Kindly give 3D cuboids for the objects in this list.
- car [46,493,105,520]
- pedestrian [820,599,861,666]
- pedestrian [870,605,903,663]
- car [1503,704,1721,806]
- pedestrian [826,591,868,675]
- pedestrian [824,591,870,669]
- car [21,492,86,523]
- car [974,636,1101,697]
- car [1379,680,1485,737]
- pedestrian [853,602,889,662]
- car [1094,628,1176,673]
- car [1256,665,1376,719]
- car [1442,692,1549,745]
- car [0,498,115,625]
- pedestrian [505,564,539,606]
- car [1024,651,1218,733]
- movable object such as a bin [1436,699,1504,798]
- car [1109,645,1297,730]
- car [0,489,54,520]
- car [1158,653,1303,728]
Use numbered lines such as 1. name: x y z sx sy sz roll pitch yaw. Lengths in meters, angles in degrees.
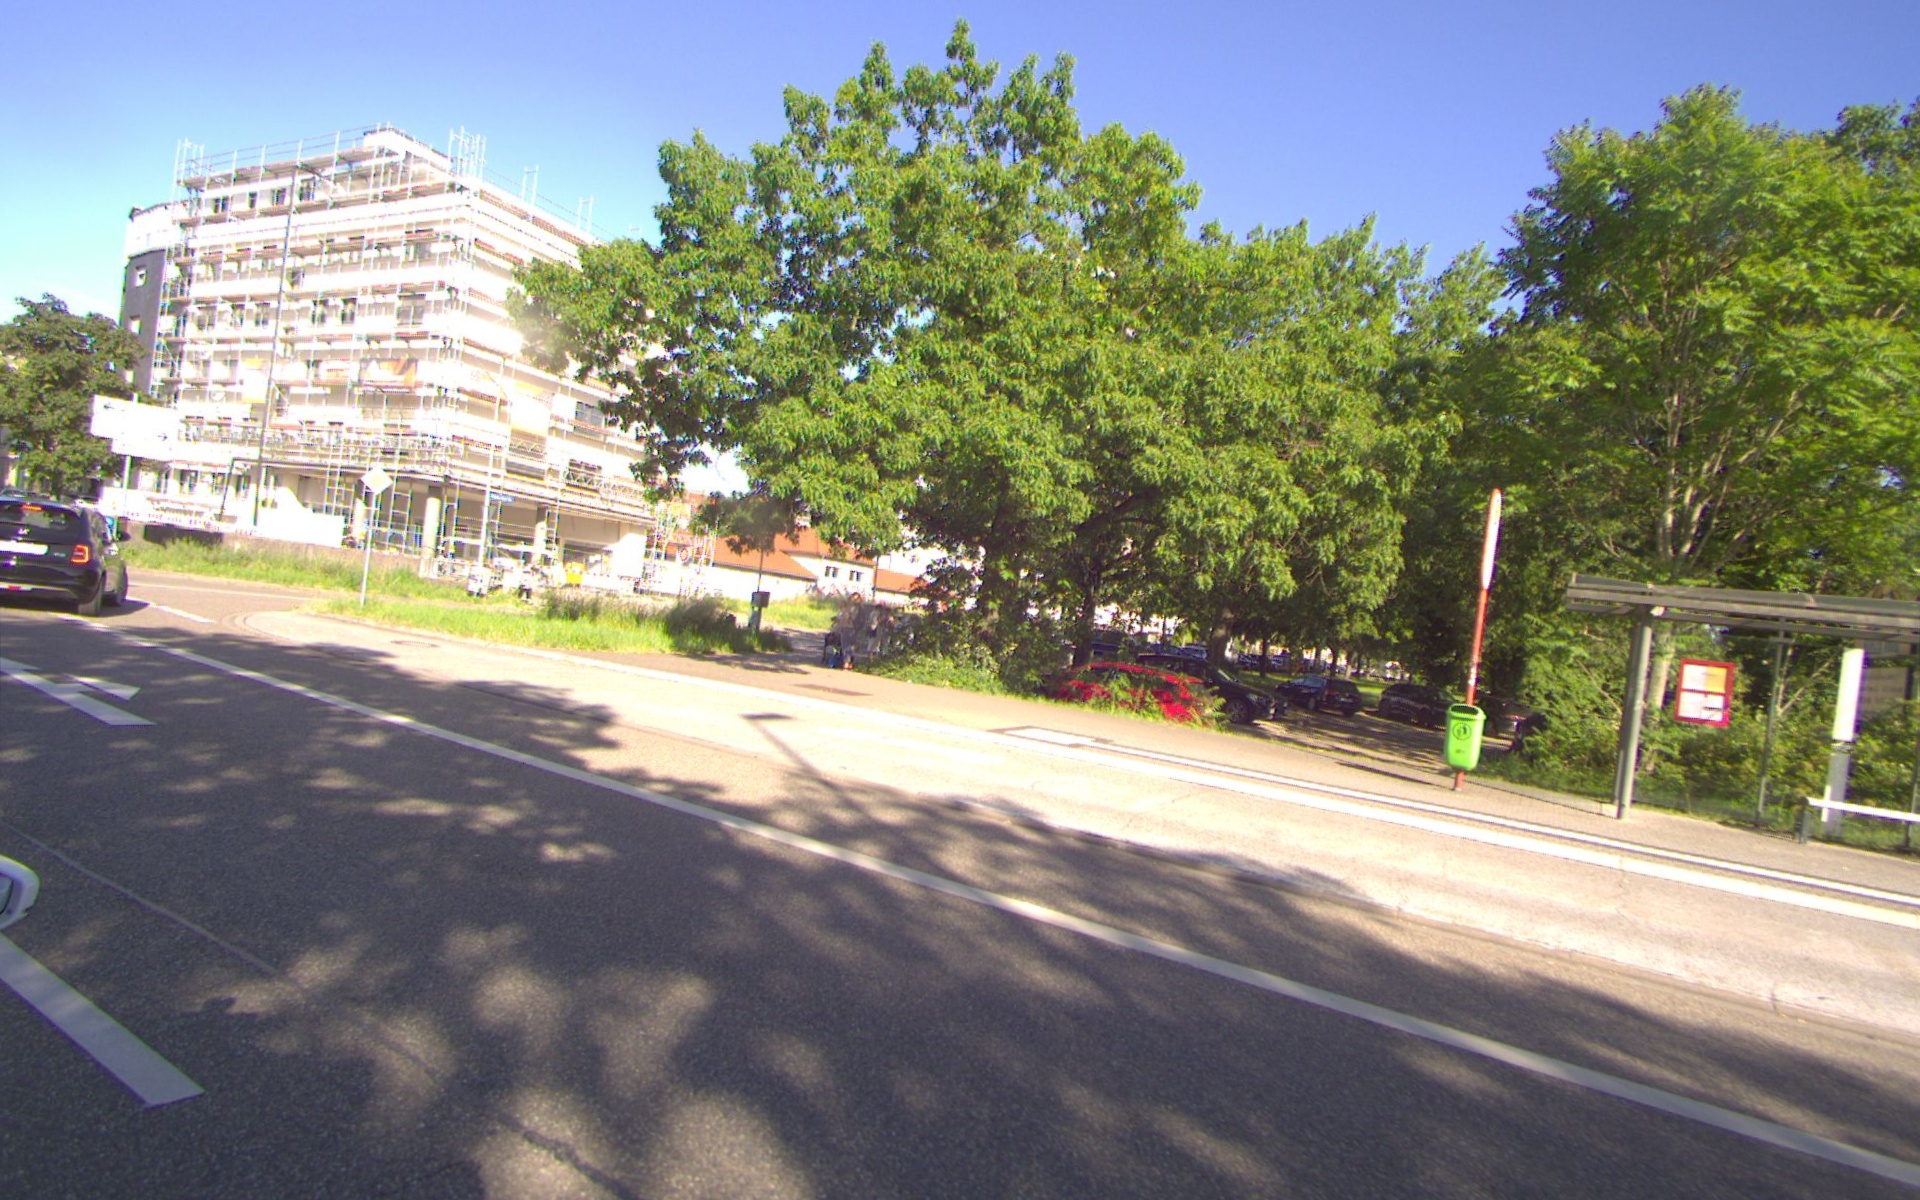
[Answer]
1. car: -74.222 -7.833 84.422 3.925 1.613 1.911 7 0 18
2. pedestrian: -2.909 0.783 24.488 0.603 1.537 0.528 7 0 34
3. pedestrian: -2.161 1.004 29.583 0.557 1.638 0.599 6 -1 26
4. car: 17.754 4.178 27.624 4.700 1.706 1.755 9 -1 34
5. pedestrian: -2.424 0.714 21.602 0.403 1.721 0.603 7 0 31
6. pedestrian: -2.505 0.673 22.335 0.542 1.654 0.623 7 0 32
7. car: -56.753 -5.784 63.073 1.803 1.526 3.975 7 0 -25
8. car: 2.756 2.362 35.953 3.937 1.625 1.996 6 -2 35
9. car: 19.293 4.403 41.337 1.966 1.621 3.994 8 0 -7
10. pedestrian: -2.540 0.917 28.774 0.557 1.638 0.705 6 -1 26
11. car: 10.555 3.059 60.804 4.282 2.098 1.995 7 -1 34
12. car: 14.225 3.683 40.337 1.989 1.573 3.951 9 -3 -44
13. car: 22.124 4.877 41.748 1.755 1.466 3.994 8 0 -7
14. car: -13.483 -0.645 14.380 3.514 1.521 1.671 7 -1 43
15. pedestrian: -17.043 -0.582 39.153 0.892 1.515 0.651 7 0 23
16. car: 3.468 1.964 21.903 3.845 1.168 1.399 7 0 30
17. movable object such as a bin: 6.051 1.737 11.929 0.568 1.042 0.727 7 0 31
18. car: 7.053 2.535 29.421 4.810 1.555 1.997 9 -1 34
19. car: -54.705 -5.573 58.614 1.760 1.460 3.595 8 -1 -26
20. car: 8.615 2.871 32.145 3.937 1.835 1.846 6 -2 35
